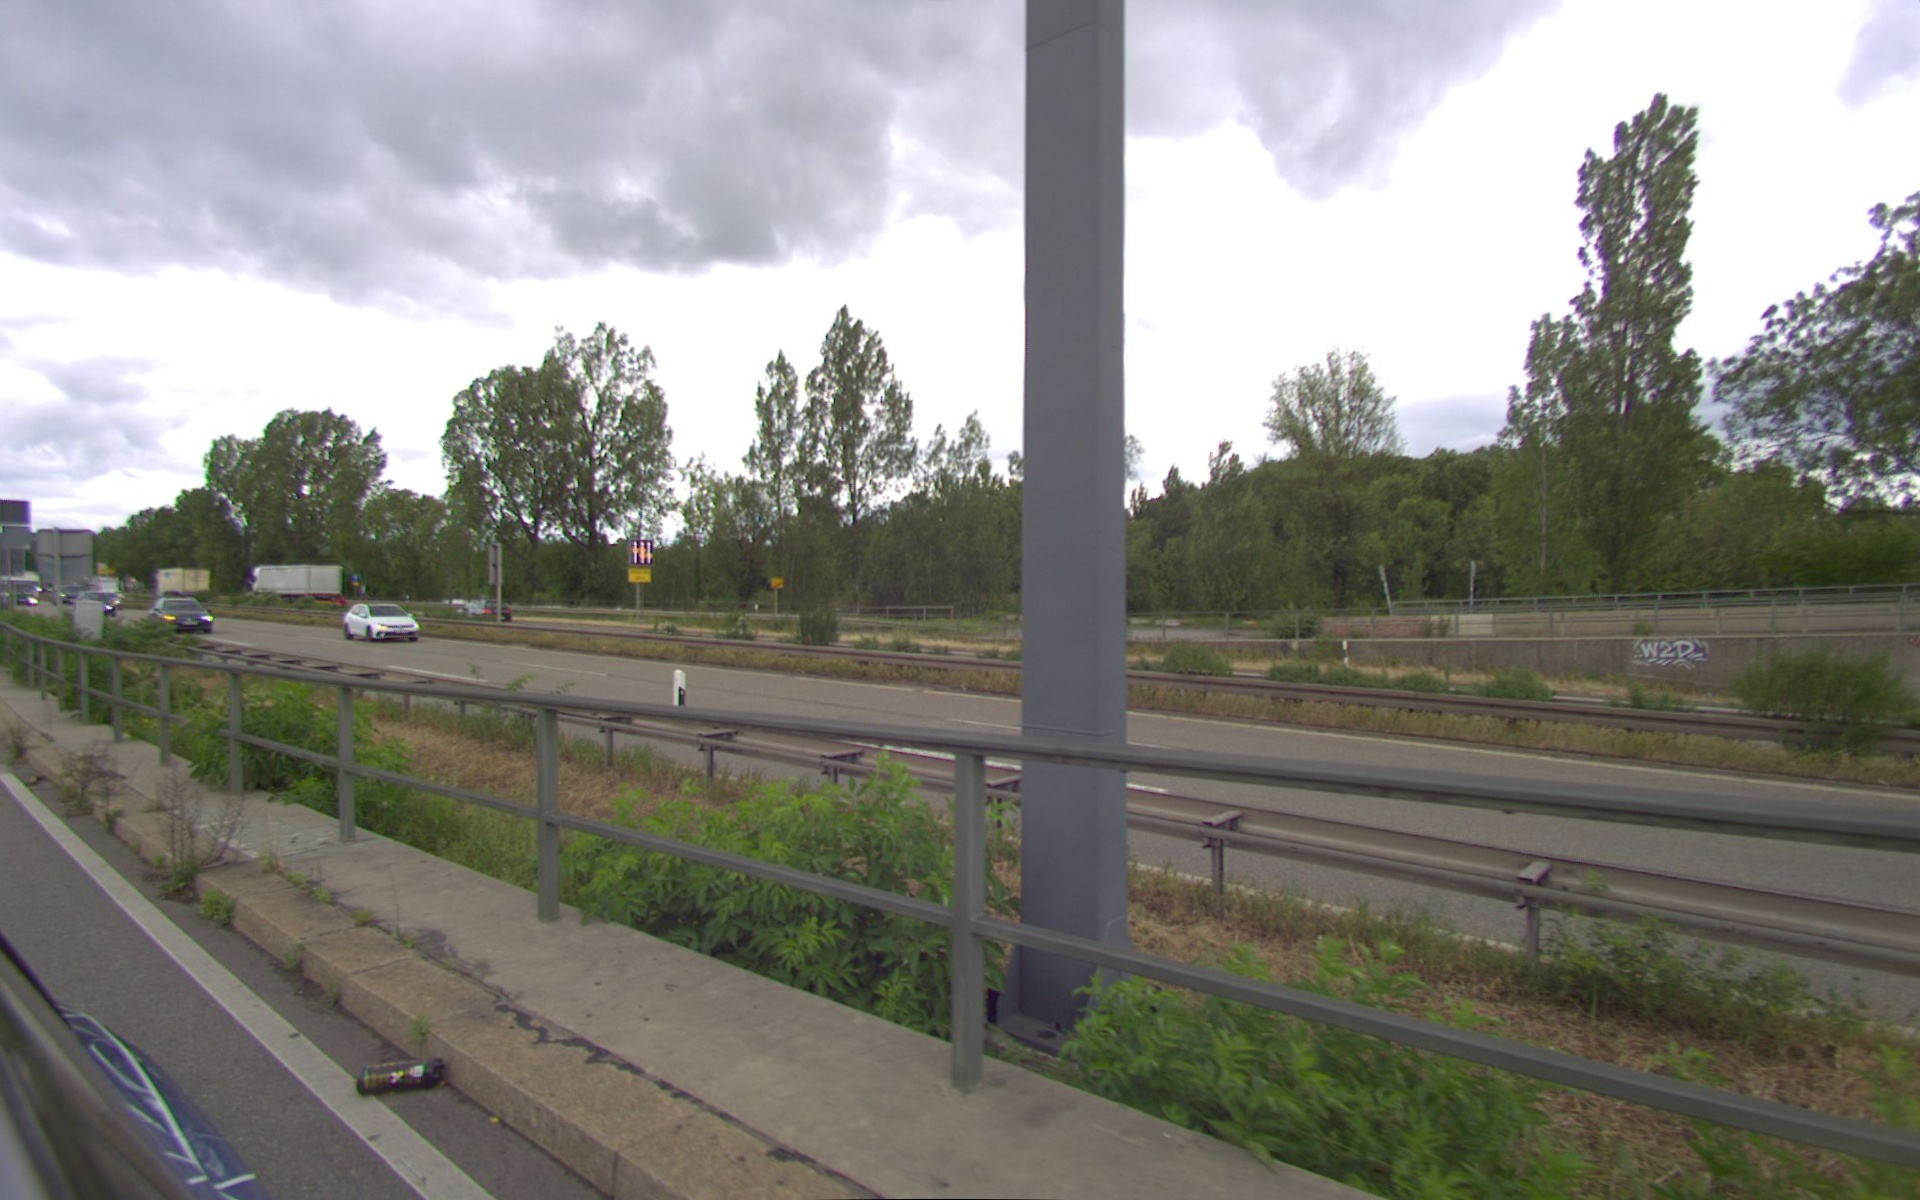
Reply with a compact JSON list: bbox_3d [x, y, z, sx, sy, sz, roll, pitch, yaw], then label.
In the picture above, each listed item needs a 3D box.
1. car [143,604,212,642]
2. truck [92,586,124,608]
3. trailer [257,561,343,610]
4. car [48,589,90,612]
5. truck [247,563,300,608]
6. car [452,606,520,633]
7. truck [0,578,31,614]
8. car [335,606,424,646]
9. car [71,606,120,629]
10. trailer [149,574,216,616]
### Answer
[{"bbox_3d":[-33.132,0.950,42.815,1.912,1.512,4.308,1,-1,-43],"label":"car"},{"bbox_3d":[-144.085,-0.513,171.126,6.330,3.671,2.954,0,2,39],"label":"truck"},{"bbox_3d":[-57.573,-1.271,88.068,13.508,3.978,2.761,1,2,42],"label":"trailer"},{"bbox_3d":[-83.583,0.003,94.933,5.334,2.029,2.073,2,0,39],"label":"car"},{"bbox_3d":[-63.030,-1.351,92.909,5.311,3.966,2.760,1,2,41],"label":"truck"},{"bbox_3d":[-26.235,1.065,55.953,3.999,1.446,1.972,0,-1,42],"label":"car"},{"bbox_3d":[-87.310,-0.401,92.447,7.570,3.182,2.998,1,0,43],"label":"truck"},{"bbox_3d":[-22.937,0.993,39.927,3.998,1.511,1.835,0,-1,41],"label":"car"},{"bbox_3d":[-52.817,1.037,61.812,3.645,1.337,1.706,0,-1,40],"label":"car"},{"bbox_3d":[-92.071,-0.608,119.731,14.775,4.708,3.427,0,1,41],"label":"trailer"}]
